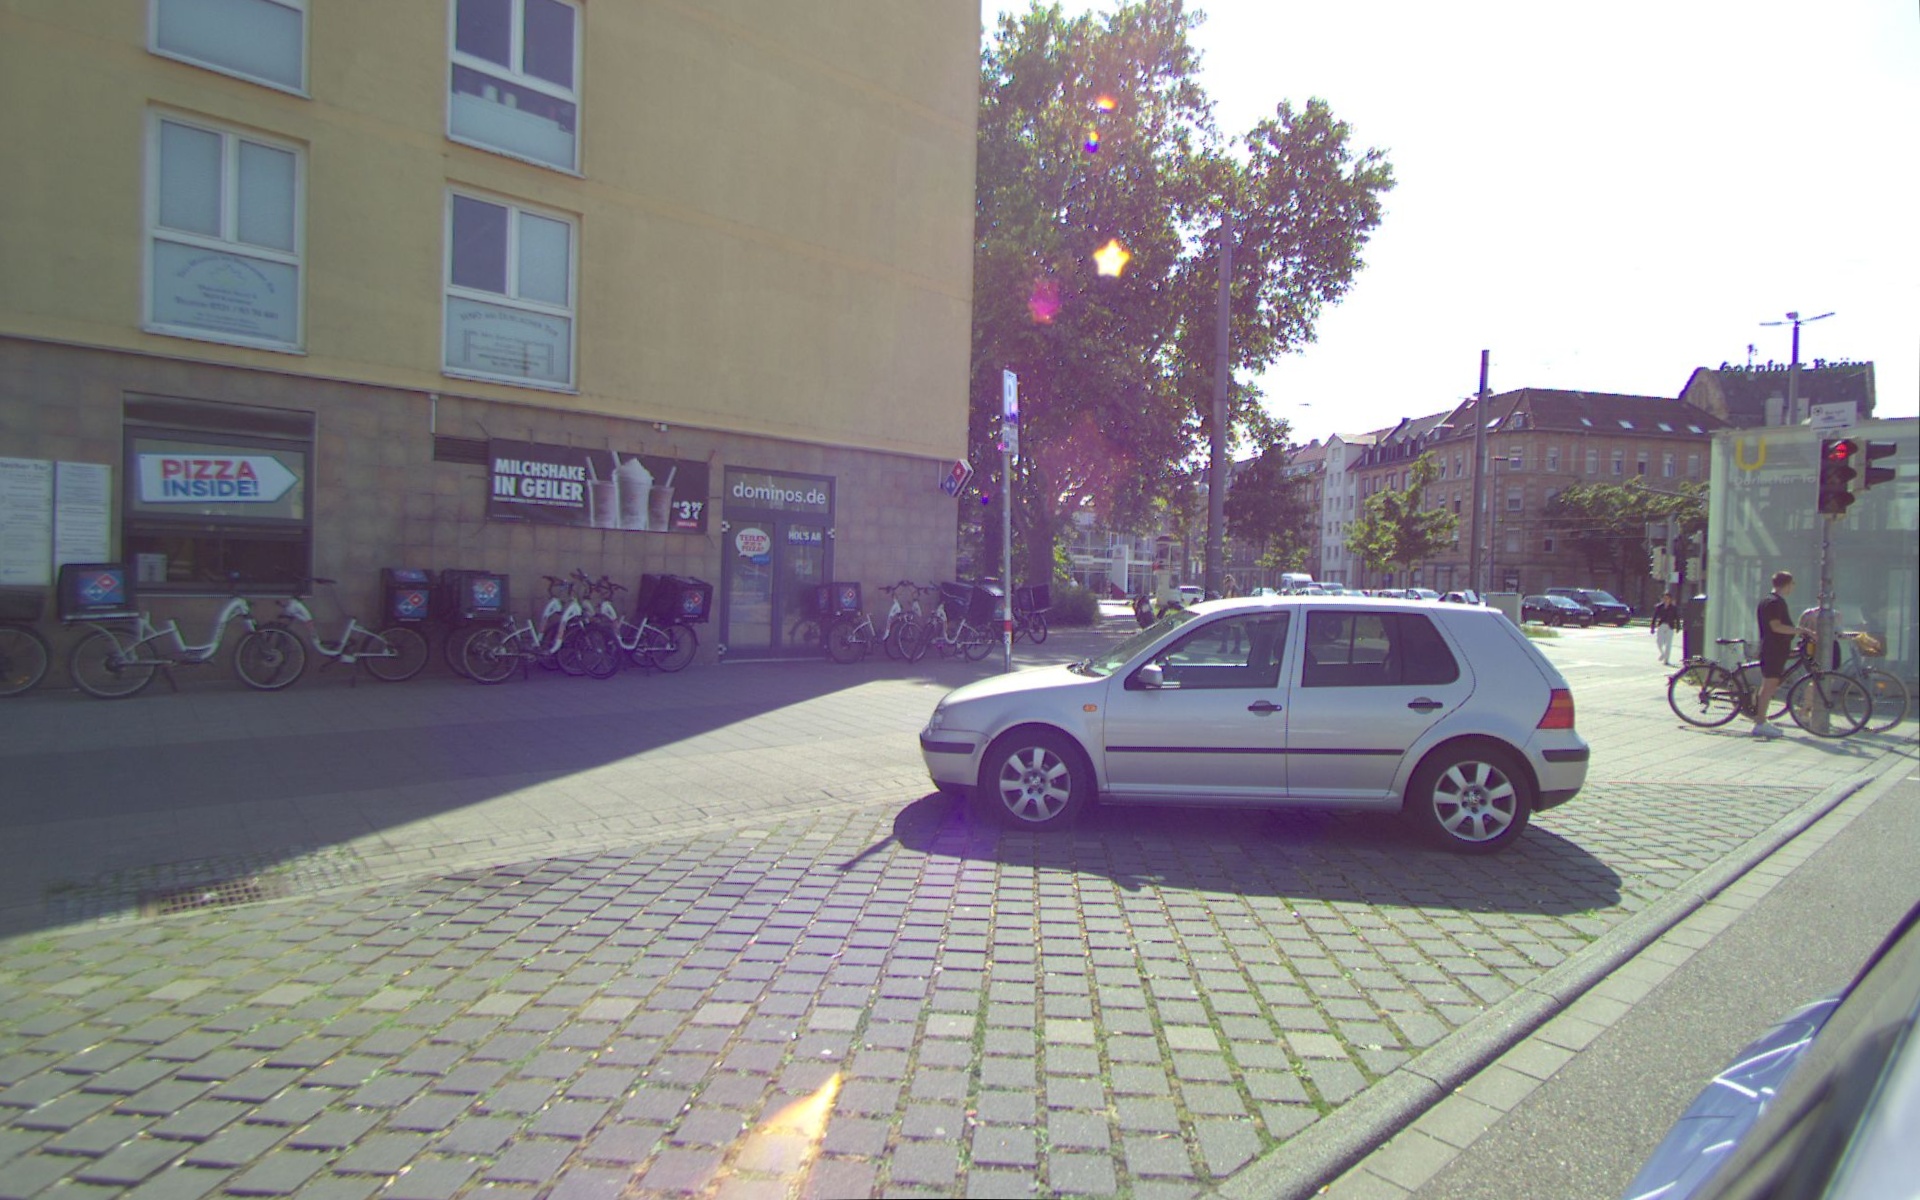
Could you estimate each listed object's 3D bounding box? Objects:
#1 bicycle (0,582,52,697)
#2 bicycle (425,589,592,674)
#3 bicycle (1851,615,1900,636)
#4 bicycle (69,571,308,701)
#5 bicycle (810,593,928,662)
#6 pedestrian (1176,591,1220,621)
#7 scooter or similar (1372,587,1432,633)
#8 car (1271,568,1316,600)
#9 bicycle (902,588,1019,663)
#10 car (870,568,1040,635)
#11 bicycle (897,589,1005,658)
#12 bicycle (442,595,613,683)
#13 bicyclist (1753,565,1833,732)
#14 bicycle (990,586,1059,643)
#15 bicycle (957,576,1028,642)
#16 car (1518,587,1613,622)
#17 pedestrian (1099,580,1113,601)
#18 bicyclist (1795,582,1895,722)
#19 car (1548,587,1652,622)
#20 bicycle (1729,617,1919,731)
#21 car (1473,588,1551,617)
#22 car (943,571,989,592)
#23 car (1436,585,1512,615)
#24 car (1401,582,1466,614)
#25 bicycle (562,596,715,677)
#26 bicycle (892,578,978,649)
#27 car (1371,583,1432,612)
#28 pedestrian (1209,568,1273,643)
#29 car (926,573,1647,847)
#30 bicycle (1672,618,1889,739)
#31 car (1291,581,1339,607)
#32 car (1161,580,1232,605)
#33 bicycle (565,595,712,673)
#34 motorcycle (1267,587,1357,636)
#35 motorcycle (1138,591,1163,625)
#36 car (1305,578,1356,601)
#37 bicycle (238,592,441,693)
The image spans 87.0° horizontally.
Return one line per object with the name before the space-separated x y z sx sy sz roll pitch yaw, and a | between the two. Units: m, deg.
bicycle | -9.107 0.348 8.831 1.750 0.976 0.583 0 4 -42
bicycle | -5.386 0.352 12.139 1.726 0.927 0.583 0 2 -40
bicycle | 50.048 1.391 55.353 0.702 1.028 2.023 3 0 -6
bicycle | -7.385 0.313 9.743 1.789 1.108 0.583 0 4 -42
bicycle | -1.382 0.408 15.541 1.723 0.977 0.584 0 2 -36
pedestrian | 7.499 0.186 31.933 1.156 0.903 0.821 1 2 -43
scooter or similar | 11.425 0.263 26.141 1.335 1.133 0.518 2 1 -13
car | 29.946 -1.386 91.078 2.175 2.608 5.870 3 0 2
bicycle | 0.014 0.396 15.957 1.721 1.098 0.585 1 4 -29
car | -0.062 0.059 24.476 4.020 1.489 1.657 1 -2 -40
bicycle | -0.138 0.376 16.618 1.723 1.055 0.584 1 2 -34
bicycle | -5.005 0.426 11.778 1.726 0.927 0.583 0 3 -42
bicyclist | 9.100 0.504 11.052 0.615 1.756 0.575 1 1 43
bicycle | 1.352 0.286 21.675 0.572 1.099 1.759 1 2 -30
bicycle | 0.632 0.164 20.590 0.572 1.234 1.759 1 2 -30
car | 29.895 0.194 50.128 1.859 1.608 4.215 1 0 -6
pedestrian | 11.759 -0.744 81.604 0.937 1.600 0.535 4 -1 -27
bicyclist | 10.418 0.590 11.922 0.718 1.592 0.614 0 1 -23
car | 32.783 0.178 52.039 1.928 1.607 4.723 1 2 -6
bicycle | 10.202 0.813 11.823 0.739 1.144 1.800 0 1 -23
car | 32.028 0.137 58.861 1.861 1.608 4.006 1 0 -9
car | 0.415 -1.422 77.125 1.958 1.504 4.008 3 0 -25
car | 28.950 -0.010 57.149 1.862 1.608 4.005 1 0 -6
car | 30.969 -0.143 66.357 1.862 1.941 4.206 1 0 -7
bicycle | -4.017 0.436 12.691 1.722 0.927 0.584 1 2 -33
bicycle | -0.481 0.226 18.561 0.531 1.200 1.889 1 1 -38
car | 28.208 -0.163 64.817 1.623 1.761 4.206 1 0 -7
pedestrian | 5.535 0.118 19.920 1.097 1.421 0.656 2 1 -40
car | 1.880 0.591 6.661 3.936 1.458 1.808 0 0 11
bicycle | 8.919 0.806 11.054 1.791 1.144 0.575 2 1 44
car | 27.022 -0.436 77.160 1.776 1.869 4.206 1 0 -7
car | 16.351 -0.508 69.921 4.505 1.454 1.447 3 0 -9
bicycle | -4.190 0.426 13.233 1.722 0.927 0.584 1 2 -33
motorcycle | 8.391 0.274 24.129 1.995 1.075 0.642 2 1 -16
motorcycle | 5.272 0.204 28.110 0.630 0.852 2.032 2 1 10
car | 29.784 -0.897 81.507 2.150 1.701 5.031 1 1 -1
bicycle | -6.478 0.407 10.620 1.726 0.938 0.583 0 4 -42
